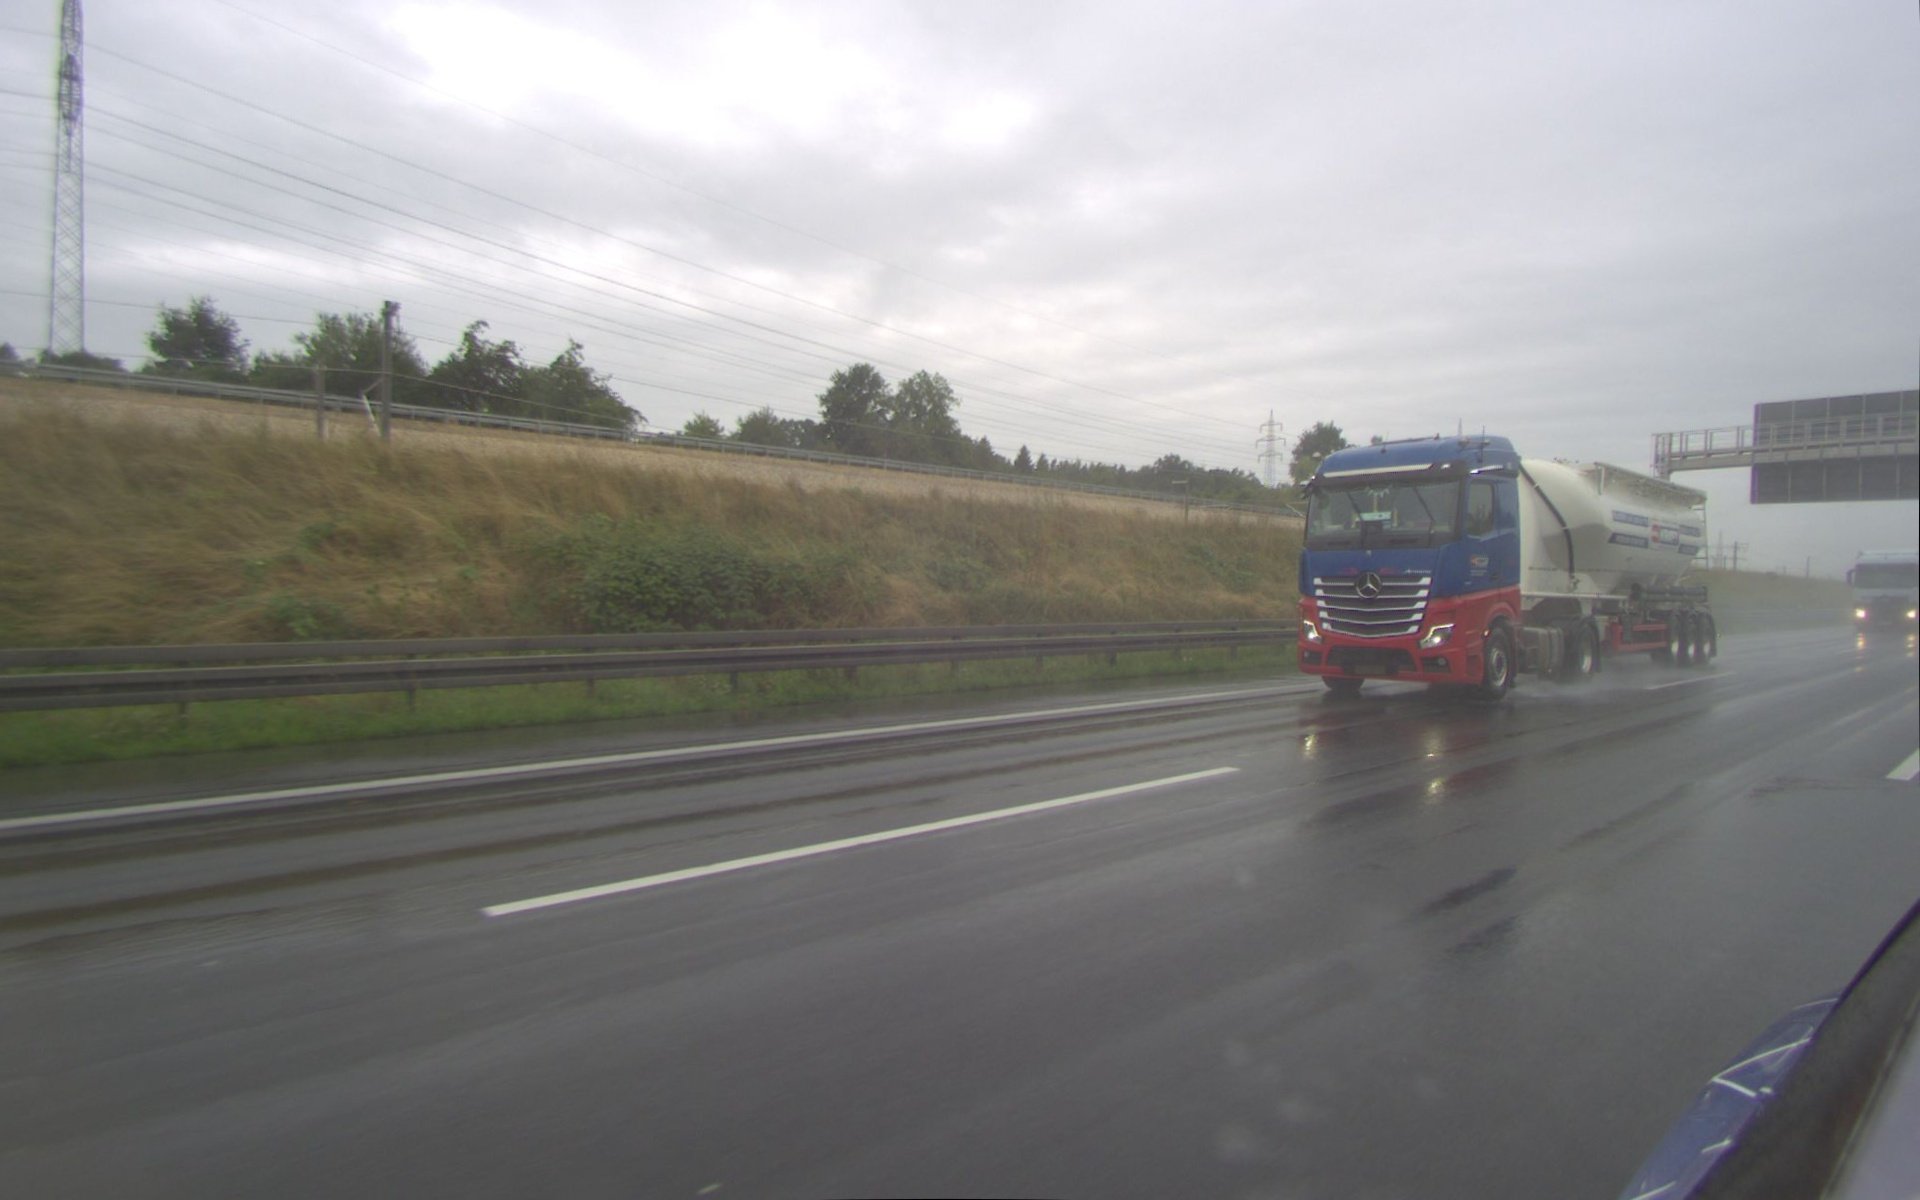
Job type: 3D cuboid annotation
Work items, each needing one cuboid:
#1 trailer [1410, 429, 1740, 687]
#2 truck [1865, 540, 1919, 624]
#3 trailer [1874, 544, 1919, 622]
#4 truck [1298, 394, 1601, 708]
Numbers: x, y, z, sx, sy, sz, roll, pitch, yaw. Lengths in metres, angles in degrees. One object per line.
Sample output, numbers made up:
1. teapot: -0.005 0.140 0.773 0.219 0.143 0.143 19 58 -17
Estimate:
1. trailer: 12.572 -0.565 19.978 10.873 3.932 2.501 1 -1 -42
2. truck: 46.817 -0.810 49.919 6.089 3.939 2.456 1 -1 -41
3. trailer: 52.537 -0.707 54.898 16.254 3.814 2.484 1 -1 -41
4. truck: 7.648 -0.605 15.587 4.987 4.034 2.500 1 -1 -42
